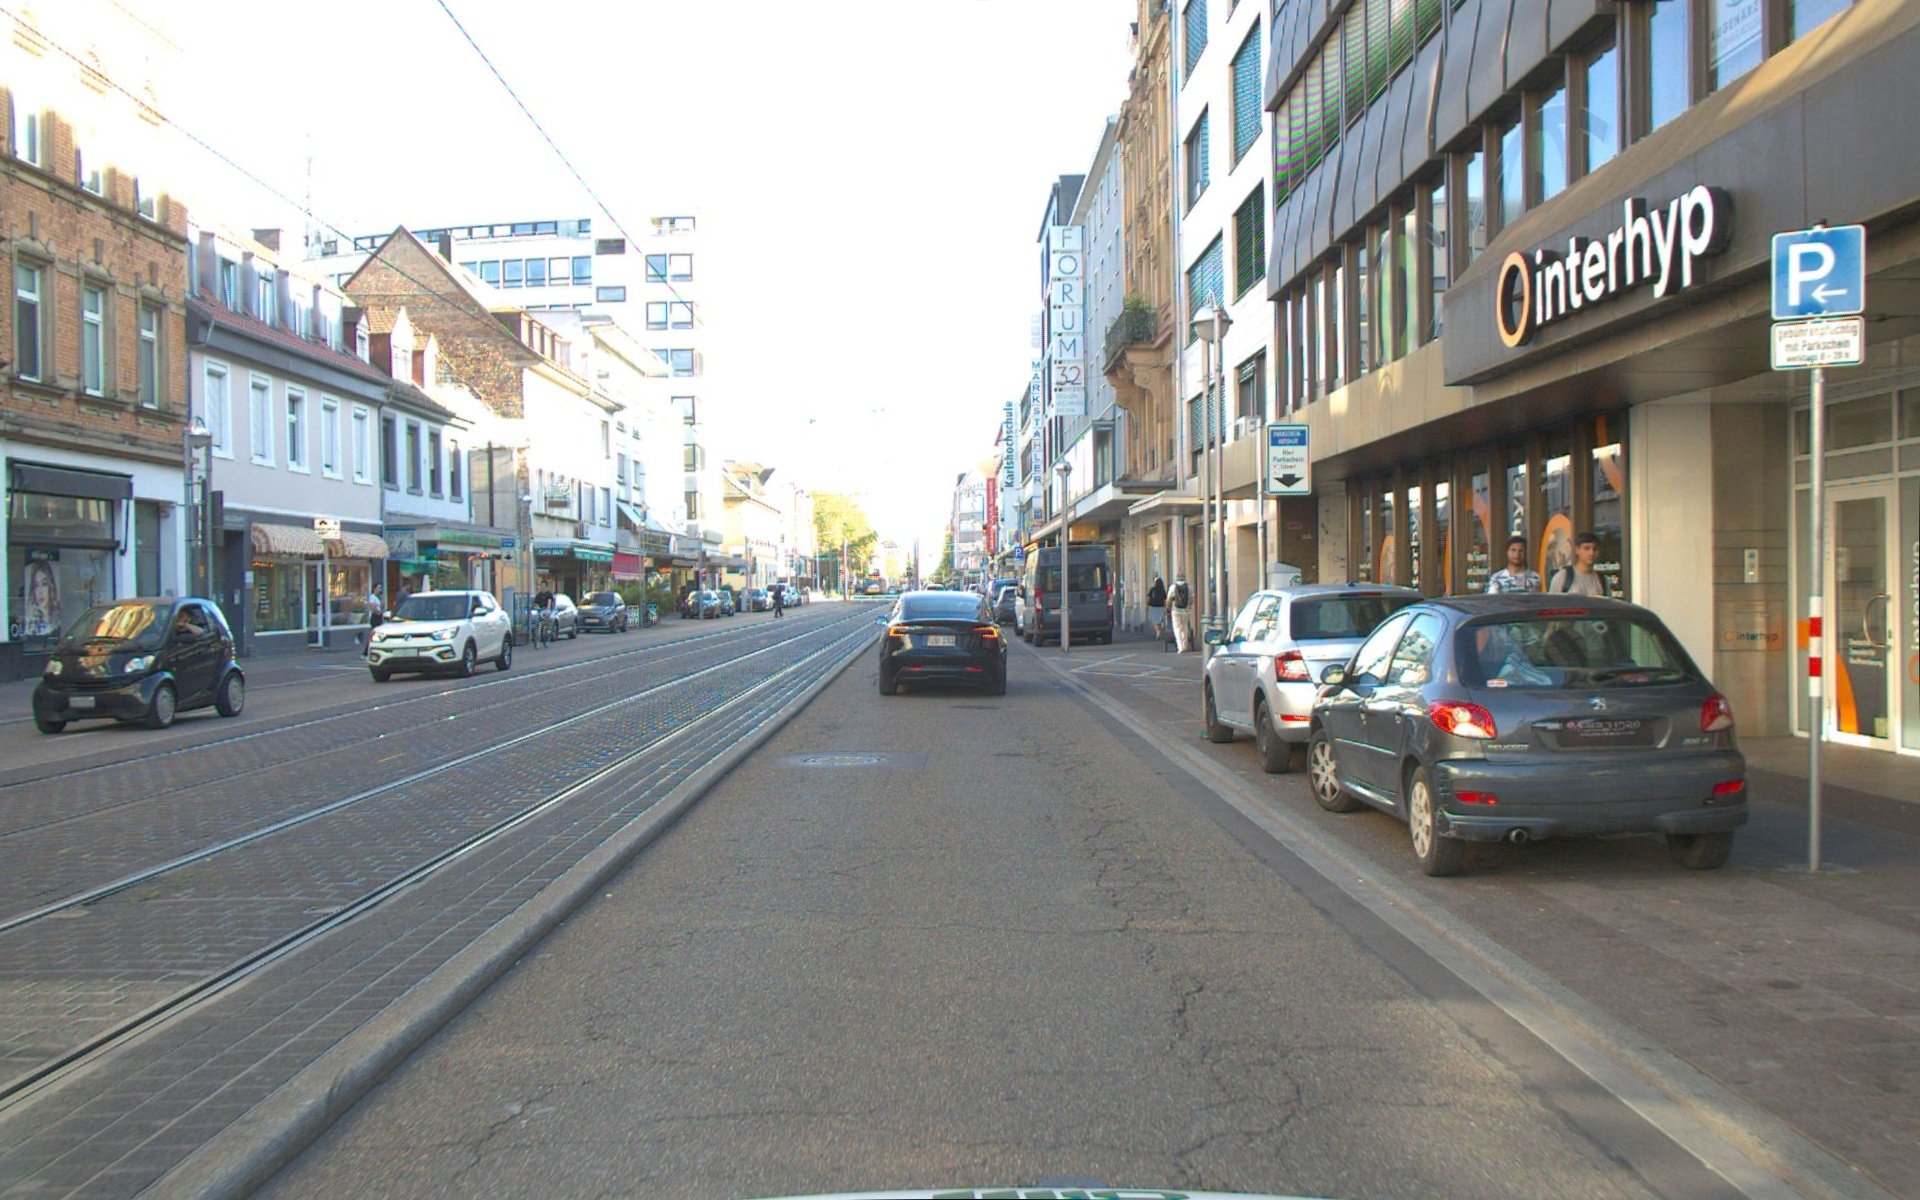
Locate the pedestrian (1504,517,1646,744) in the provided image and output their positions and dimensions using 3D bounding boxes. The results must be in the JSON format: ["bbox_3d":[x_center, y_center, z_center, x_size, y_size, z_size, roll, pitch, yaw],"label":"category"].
[{"bbox_3d":[5.044,0.236,13.625,0.763,1.782,1.032,-1,0,0],"label":"pedestrian"}]

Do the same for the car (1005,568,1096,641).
[{"bbox_3d":[2.692,0.108,50.424,2.116,1.959,4.614,-4,1,-4],"label":"car"}]

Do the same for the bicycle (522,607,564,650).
[{"bbox_3d":[-11.639,0.790,46.208,0.566,1.135,1.954,-1,0,4],"label":"bicycle"}]

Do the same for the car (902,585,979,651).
[{"bbox_3d":[-0.426,0.413,39.334,1.725,1.443,4.354,-1,0,0],"label":"car"}]

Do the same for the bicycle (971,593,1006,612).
[{"bbox_3d":[1.769,0.132,102.479,2.116,1.116,0.686,-1,0,-3],"label":"bicycle"}]

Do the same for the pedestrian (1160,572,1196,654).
[{"bbox_3d":[4.748,0.273,36.037,0.545,1.744,0.954,-3,0,-2],"label":"pedestrian"}]

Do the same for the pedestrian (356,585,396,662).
[{"bbox_3d":[-13.807,0.547,39.115,0.600,1.806,0.719,-1,0,12],"label":"pedestrian"}]

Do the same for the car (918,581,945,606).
[{"bbox_3d":[-2.198,-0.519,128.836,2.042,1.903,3.753,0,1,0],"label":"car"}]

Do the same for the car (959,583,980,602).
[{"bbox_3d":[0.910,-0.700,159.783,1.953,1.784,3.999,-1,0,-1],"label":"car"}]

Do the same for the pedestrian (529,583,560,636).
[{"bbox_3d":[-11.638,0.269,46.352,0.611,1.469,0.874,-1,0,4],"label":"pedestrian"}]

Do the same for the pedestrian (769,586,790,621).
[{"bbox_3d":[-9.790,0.193,89.691,0.757,1.881,0.827,-1,0,29],"label":"pedestrian"}]

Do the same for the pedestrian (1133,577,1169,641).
[{"bbox_3d":[4.865,0.222,42.174,0.753,1.570,0.804,-3,0,-1],"label":"pedestrian"}]

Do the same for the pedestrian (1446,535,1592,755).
[{"bbox_3d":[5.035,0.389,14.952,0.904,1.874,0.999,-3,0,0],"label":"pedestrian"}]

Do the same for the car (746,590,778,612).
[{"bbox_3d":[-14.502,0.091,121.367,1.733,1.534,3.972,-1,0,1],"label":"car"}]

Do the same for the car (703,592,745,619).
[{"bbox_3d":[-13.993,0.332,98.193,1.733,1.534,3.862,-1,0,3],"label":"car"}]

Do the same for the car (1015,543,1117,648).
[{"bbox_3d":[2.728,-0.143,43.875,2.127,2.504,5.360,-3,1,-2],"label":"car"}]

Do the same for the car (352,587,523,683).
[{"bbox_3d":[-9.820,0.605,31.455,1.851,1.622,4.262,-2,0,0],"label":"car"}]

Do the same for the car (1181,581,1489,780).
[{"bbox_3d":[3.178,0.602,14.888,1.710,1.487,4.295,-1,0,-1],"label":"car"}]

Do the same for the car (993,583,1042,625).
[{"bbox_3d":[2.204,0.135,64.274,1.716,1.525,3.753,-1,1,0],"label":"car"}]

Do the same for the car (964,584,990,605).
[{"bbox_3d":[1.334,-0.430,131.292,1.953,1.570,3.999,-1,0,-1],"label":"car"}]

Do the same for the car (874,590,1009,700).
[{"bbox_3d":[-0.261,0.596,24.688,1.831,1.452,4.364,0,1,0],"label":"car"}]

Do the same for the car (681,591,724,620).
[{"bbox_3d":[-14.299,0.265,92.053,1.733,1.534,3.864,-1,0,0],"label":"car"}]

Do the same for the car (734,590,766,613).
[{"bbox_3d":[-14.636,0.094,115.524,1.682,1.599,3.850,-1,0,1],"label":"car"}]

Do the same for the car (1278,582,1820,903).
[{"bbox_3d":[3.251,0.670,10.123,1.810,1.487,4.303,-2,0,1],"label":"car"}]

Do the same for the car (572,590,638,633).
[{"bbox_3d":[-13.701,0.412,63.989,1.641,1.573,3.744,1,0,1],"label":"car"}]

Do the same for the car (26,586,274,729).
[{"bbox_3d":[-9.772,0.637,20.160,1.614,1.593,2.829,-1,0,0],"label":"car"}]

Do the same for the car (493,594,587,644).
[{"bbox_3d":[-13.733,0.613,54.376,1.953,1.558,4.755,0,-1,-1],"label":"car"}]

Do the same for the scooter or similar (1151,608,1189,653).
[{"bbox_3d":[4.688,0.675,36.992,0.581,0.952,1.298,-3,0,-3],"label":"scooter or similar"}]

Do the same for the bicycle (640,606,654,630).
[{"bbox_3d":[-13.411,0.762,70.845,0.363,1.019,1.596,-1,0,-19],"label":"bicycle"}]

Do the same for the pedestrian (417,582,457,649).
[{"bbox_3d":[-14.197,0.421,44.941,0.868,1.806,0.688,-1,0,-3],"label":"pedestrian"}]

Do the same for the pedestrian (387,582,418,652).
[{"bbox_3d":[-14.848,0.449,44.066,0.644,1.855,0.641,-1,0,-7],"label":"pedestrian"}]

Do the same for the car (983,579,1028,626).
[{"bbox_3d":[1.928,0.084,70.407,1.784,1.903,3.753,0,1,0],"label":"car"}]

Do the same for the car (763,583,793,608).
[{"bbox_3d":[-14.774,-0.385,134.741,1.968,1.995,4.723,-1,0,-1],"label":"car"}]
